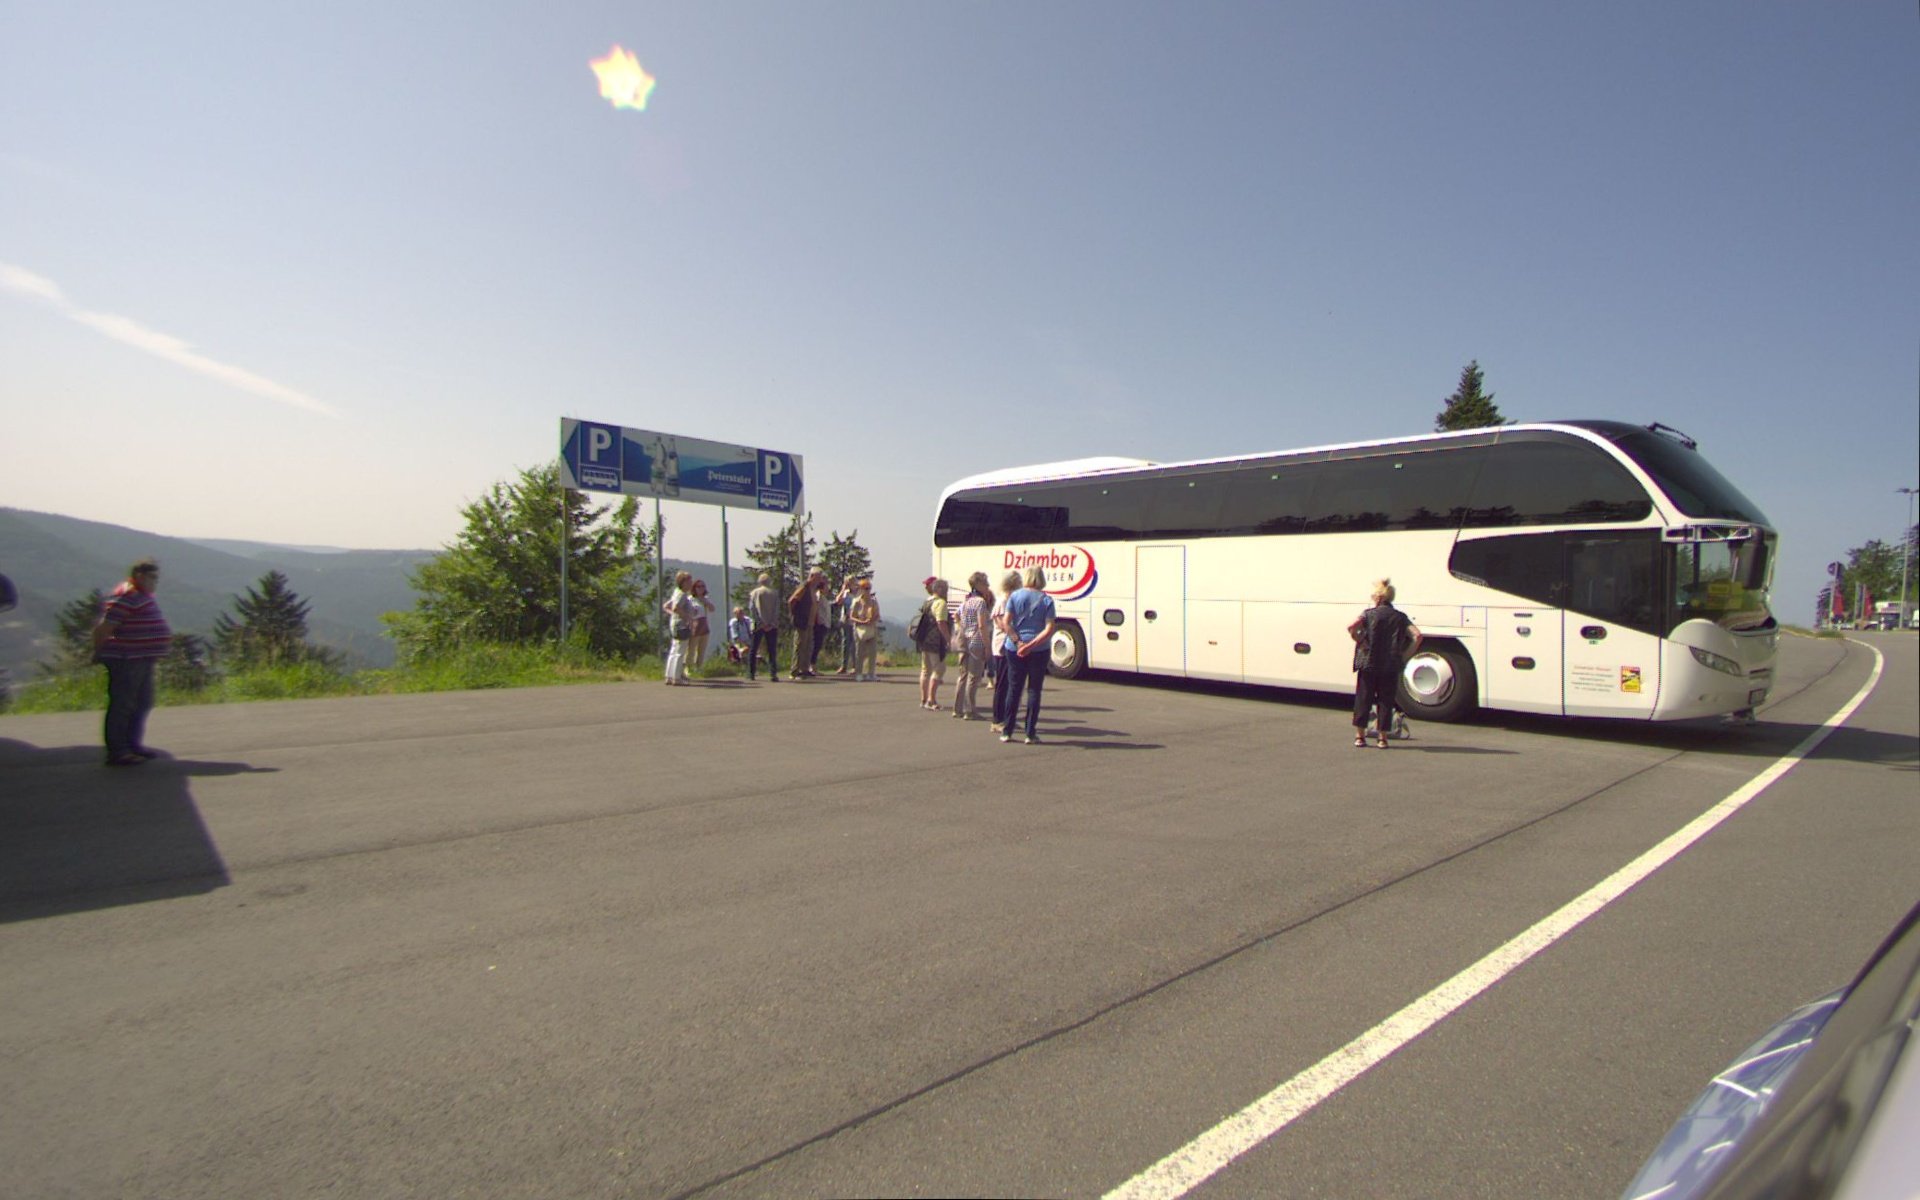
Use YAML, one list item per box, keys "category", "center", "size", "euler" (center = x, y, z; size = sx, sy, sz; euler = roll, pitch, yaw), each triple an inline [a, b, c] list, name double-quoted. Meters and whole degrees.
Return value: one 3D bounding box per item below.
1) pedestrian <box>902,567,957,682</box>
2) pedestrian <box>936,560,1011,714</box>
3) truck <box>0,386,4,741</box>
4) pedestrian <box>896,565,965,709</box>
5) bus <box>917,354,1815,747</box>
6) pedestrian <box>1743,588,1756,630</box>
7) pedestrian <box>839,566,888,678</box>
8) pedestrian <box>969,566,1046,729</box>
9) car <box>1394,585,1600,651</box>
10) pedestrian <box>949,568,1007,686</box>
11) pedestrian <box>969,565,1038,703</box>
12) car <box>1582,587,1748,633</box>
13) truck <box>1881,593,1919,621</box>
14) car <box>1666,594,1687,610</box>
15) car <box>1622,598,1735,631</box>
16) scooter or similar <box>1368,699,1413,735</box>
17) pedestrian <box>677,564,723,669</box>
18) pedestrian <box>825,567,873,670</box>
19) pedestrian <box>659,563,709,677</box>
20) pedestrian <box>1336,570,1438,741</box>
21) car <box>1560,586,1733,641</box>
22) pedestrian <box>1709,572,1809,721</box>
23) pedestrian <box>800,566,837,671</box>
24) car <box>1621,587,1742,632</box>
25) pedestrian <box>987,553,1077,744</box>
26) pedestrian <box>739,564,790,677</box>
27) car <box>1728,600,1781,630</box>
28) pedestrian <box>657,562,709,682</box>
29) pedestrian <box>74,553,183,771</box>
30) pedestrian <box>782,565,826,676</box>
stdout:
- category: "pedestrian"
  center: [-0.479, 0.365, 15.616]
  size: [0.615, 1.718, 0.633]
  euler: [1, 1, -26]
- category: "pedestrian"
  center: [0.148, 0.405, 11.639]
  size: [0.615, 1.719, 0.633]
  euler: [1, 1, -26]
- category: "truck"
  center: [-8.087, -0.244, 6.576]
  size: [2.489, 3.235, 6.074]
  euler: [0, 2, -41]
- category: "pedestrian"
  center: [-0.365, 0.437, 12.472]
  size: [0.615, 1.718, 0.633]
  euler: [1, 1, -26]
- category: "bus"
  center: [4.258, -0.640, 15.274]
  size: [2.787, 3.622, 12.880]
  euler: [0, 1, -38]
- category: "pedestrian"
  center: [35.019, 0.397, 44.889]
  size: [0.366, 1.845, 0.541]
  euler: [3, 1, 39]
- category: "pedestrian"
  center: [-1.523, 0.336, 16.010]
  size: [0.621, 1.718, 0.626]
  euler: [1, 1, 9]
- category: "pedestrian"
  center: [0.496, 0.480, 10.717]
  size: [0.615, 1.671, 0.633]
  euler: [1, 1, -16]
- category: "car"
  center: [12.661, 0.375, 24.036]
  size: [1.736, 1.438, 3.994]
  euler: [0, 0, -41]
- category: "pedestrian"
  center: [0.260, 0.390, 15.136]
  size: [0.615, 1.718, 0.633]
  euler: [1, 1, -26]
- category: "pedestrian"
  center: [0.546, 0.417, 12.865]
  size: [0.615, 1.700, 0.633]
  euler: [1, 1, -26]
- category: "car"
  center: [27.318, 0.424, 39.355]
  size: [5.095, 1.640, 1.970]
  euler: [-2, -2, 41]
- category: "truck"
  center: [103.705, 0.751, 108.846]
  size: [8.576, 2.865, 2.877]
  euler: [1, 1, -17]
- category: "car"
  center: [93.637, 0.220, 132.259]
  size: [1.985, 2.039, 3.955]
  euler: [2, 1, 32]
- category: "car"
  center: [29.289, 0.593, 41.307]
  size: [3.694, 1.284, 1.541]
  euler: [0, -1, 40]
- category: "scooter or similar"
  center: [4.438, 1.205, 10.441]
  size: [0.320, 0.315, 0.286]
  euler: [1, 1, -31]
- category: "pedestrian"
  center: [-4.364, 0.260, 16.976]
  size: [0.615, 1.718, 0.633]
  euler: [1, 1, -26]
- category: "pedestrian"
  center: [-1.901, 0.300, 17.315]
  size: [0.615, 1.718, 0.633]
  euler: [1, 1, -26]
- category: "pedestrian"
  center: [-4.275, 0.291, 15.674]
  size: [0.615, 1.718, 0.633]
  euler: [1, 1, -26]
- category: "pedestrian"
  center: [4.134, 0.509, 9.819]
  size: [0.615, 1.586, 0.633]
  euler: [1, 1, -26]
- category: "car"
  center: [22.274, 0.411, 32.920]
  size: [4.470, 1.647, 1.984]
  euler: [0, 0, 41]
- category: "pedestrian"
  center: [9.319, 0.525, 11.810]
  size: [0.695, 1.664, 0.744]
  euler: [1, -1, -36]
- category: "pedestrian"
  center: [-2.360, 0.301, 16.880]
  size: [0.475, 1.718, 0.469]
  euler: [1, 1, -26]
- category: "car"
  center: [32.608, 0.399, 45.773]
  size: [4.308, 1.844, 1.971]
  euler: [2, 1, 40]
- category: "pedestrian"
  center: [0.693, 0.445, 9.857]
  size: [0.615, 1.780, 0.633]
  euler: [1, 1, -26]
- category: "pedestrian"
  center: [-3.053, 0.311, 15.794]
  size: [0.615, 1.718, 0.633]
  euler: [1, 1, -26]
- category: "car"
  center: [44.657, 0.818, 56.946]
  size: [1.987, 1.565, 3.951]
  euler: [2, 1, 34]
- category: "pedestrian"
  center: [-4.095, 0.310, 14.959]
  size: [0.615, 1.718, 0.633]
  euler: [1, 1, -26]
- category: "pedestrian"
  center: [-6.707, 0.461, 8.159]
  size: [0.621, 1.661, 0.646]
  euler: [1, 1, -44]
- category: "pedestrian"
  center: [-2.498, 0.314, 16.153]
  size: [0.498, 1.718, 0.633]
  euler: [1, 1, -26]
